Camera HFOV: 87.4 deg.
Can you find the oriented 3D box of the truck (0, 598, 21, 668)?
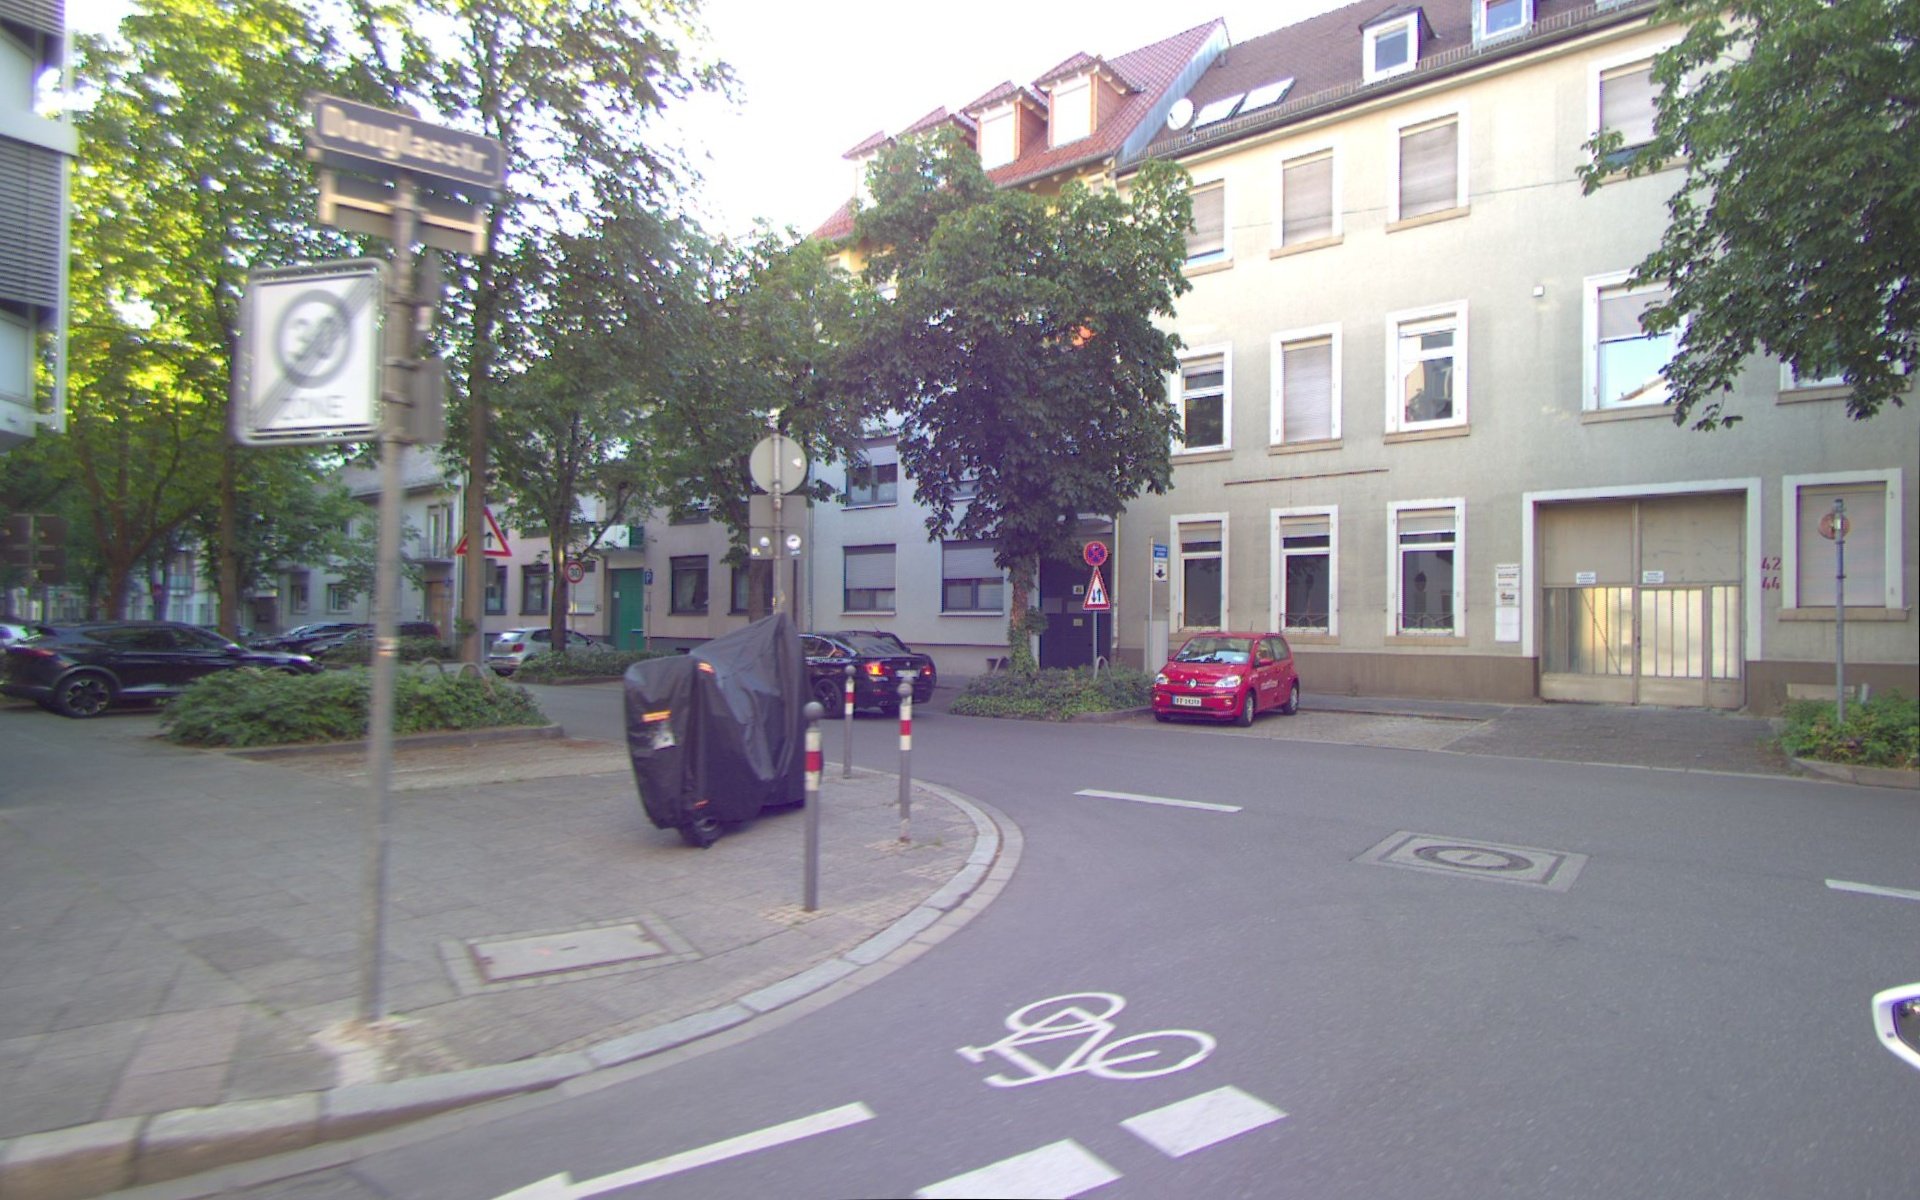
[{"bbox_3d":[-36.148,1.073,34.790,1.886,2.473,4.995,0,-3,38],"label":"truck"}]

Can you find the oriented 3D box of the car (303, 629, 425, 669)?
[{"bbox_3d":[-22.480,1.808,37.984,1.540,1.411,3.656,-1,-1,35],"label":"car"}]

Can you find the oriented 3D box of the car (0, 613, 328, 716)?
[{"bbox_3d":[-13.563,1.073,17.123,1.806,1.529,4.355,-1,-3,37],"label":"car"}]

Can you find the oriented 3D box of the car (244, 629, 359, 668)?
[{"bbox_3d":[-27.752,1.999,42.445,1.540,1.550,3.792,-1,-1,35],"label":"car"}]

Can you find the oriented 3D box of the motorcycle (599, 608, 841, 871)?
[{"bbox_3d":[-1.596,0.871,7.165,0.656,1.576,2.163,0,-2,17],"label":"motorcycle"}]

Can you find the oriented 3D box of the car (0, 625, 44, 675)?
[{"bbox_3d":[-29.939,1.447,29.580,1.614,1.491,4.131,-1,-3,37],"label":"car"}]

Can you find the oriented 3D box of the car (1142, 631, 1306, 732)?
[{"bbox_3d":[4.602,1.303,17.204,1.540,1.495,3.655,-1,-1,35],"label":"car"}]

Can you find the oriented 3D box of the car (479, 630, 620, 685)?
[{"bbox_3d":[-12.223,1.676,30.086,1.540,1.498,3.656,-1,-1,35],"label":"car"}]

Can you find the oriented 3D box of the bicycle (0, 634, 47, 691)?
[{"bbox_3d":[-21.041,1.350,21.641,0.492,1.214,1.974,0,-2,27],"label":"bicycle"}]

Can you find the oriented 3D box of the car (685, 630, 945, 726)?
[{"bbox_3d":[-2.638,1.288,17.760,4.590,1.469,1.763,-1,-2,35],"label":"car"}]

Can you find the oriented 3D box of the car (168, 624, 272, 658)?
[{"bbox_3d":[-35.043,1.943,47.639,1.540,1.556,3.657,-1,-2,35],"label":"car"}]

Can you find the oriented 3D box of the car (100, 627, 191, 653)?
[{"bbox_3d":[-45.090,2.197,55.668,1.540,1.411,3.657,-1,-2,35],"label":"car"}]

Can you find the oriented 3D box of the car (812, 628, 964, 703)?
[{"bbox_3d":[-1.576,1.427,23.166,1.599,1.447,3.705,-1,0,32],"label":"car"}]
